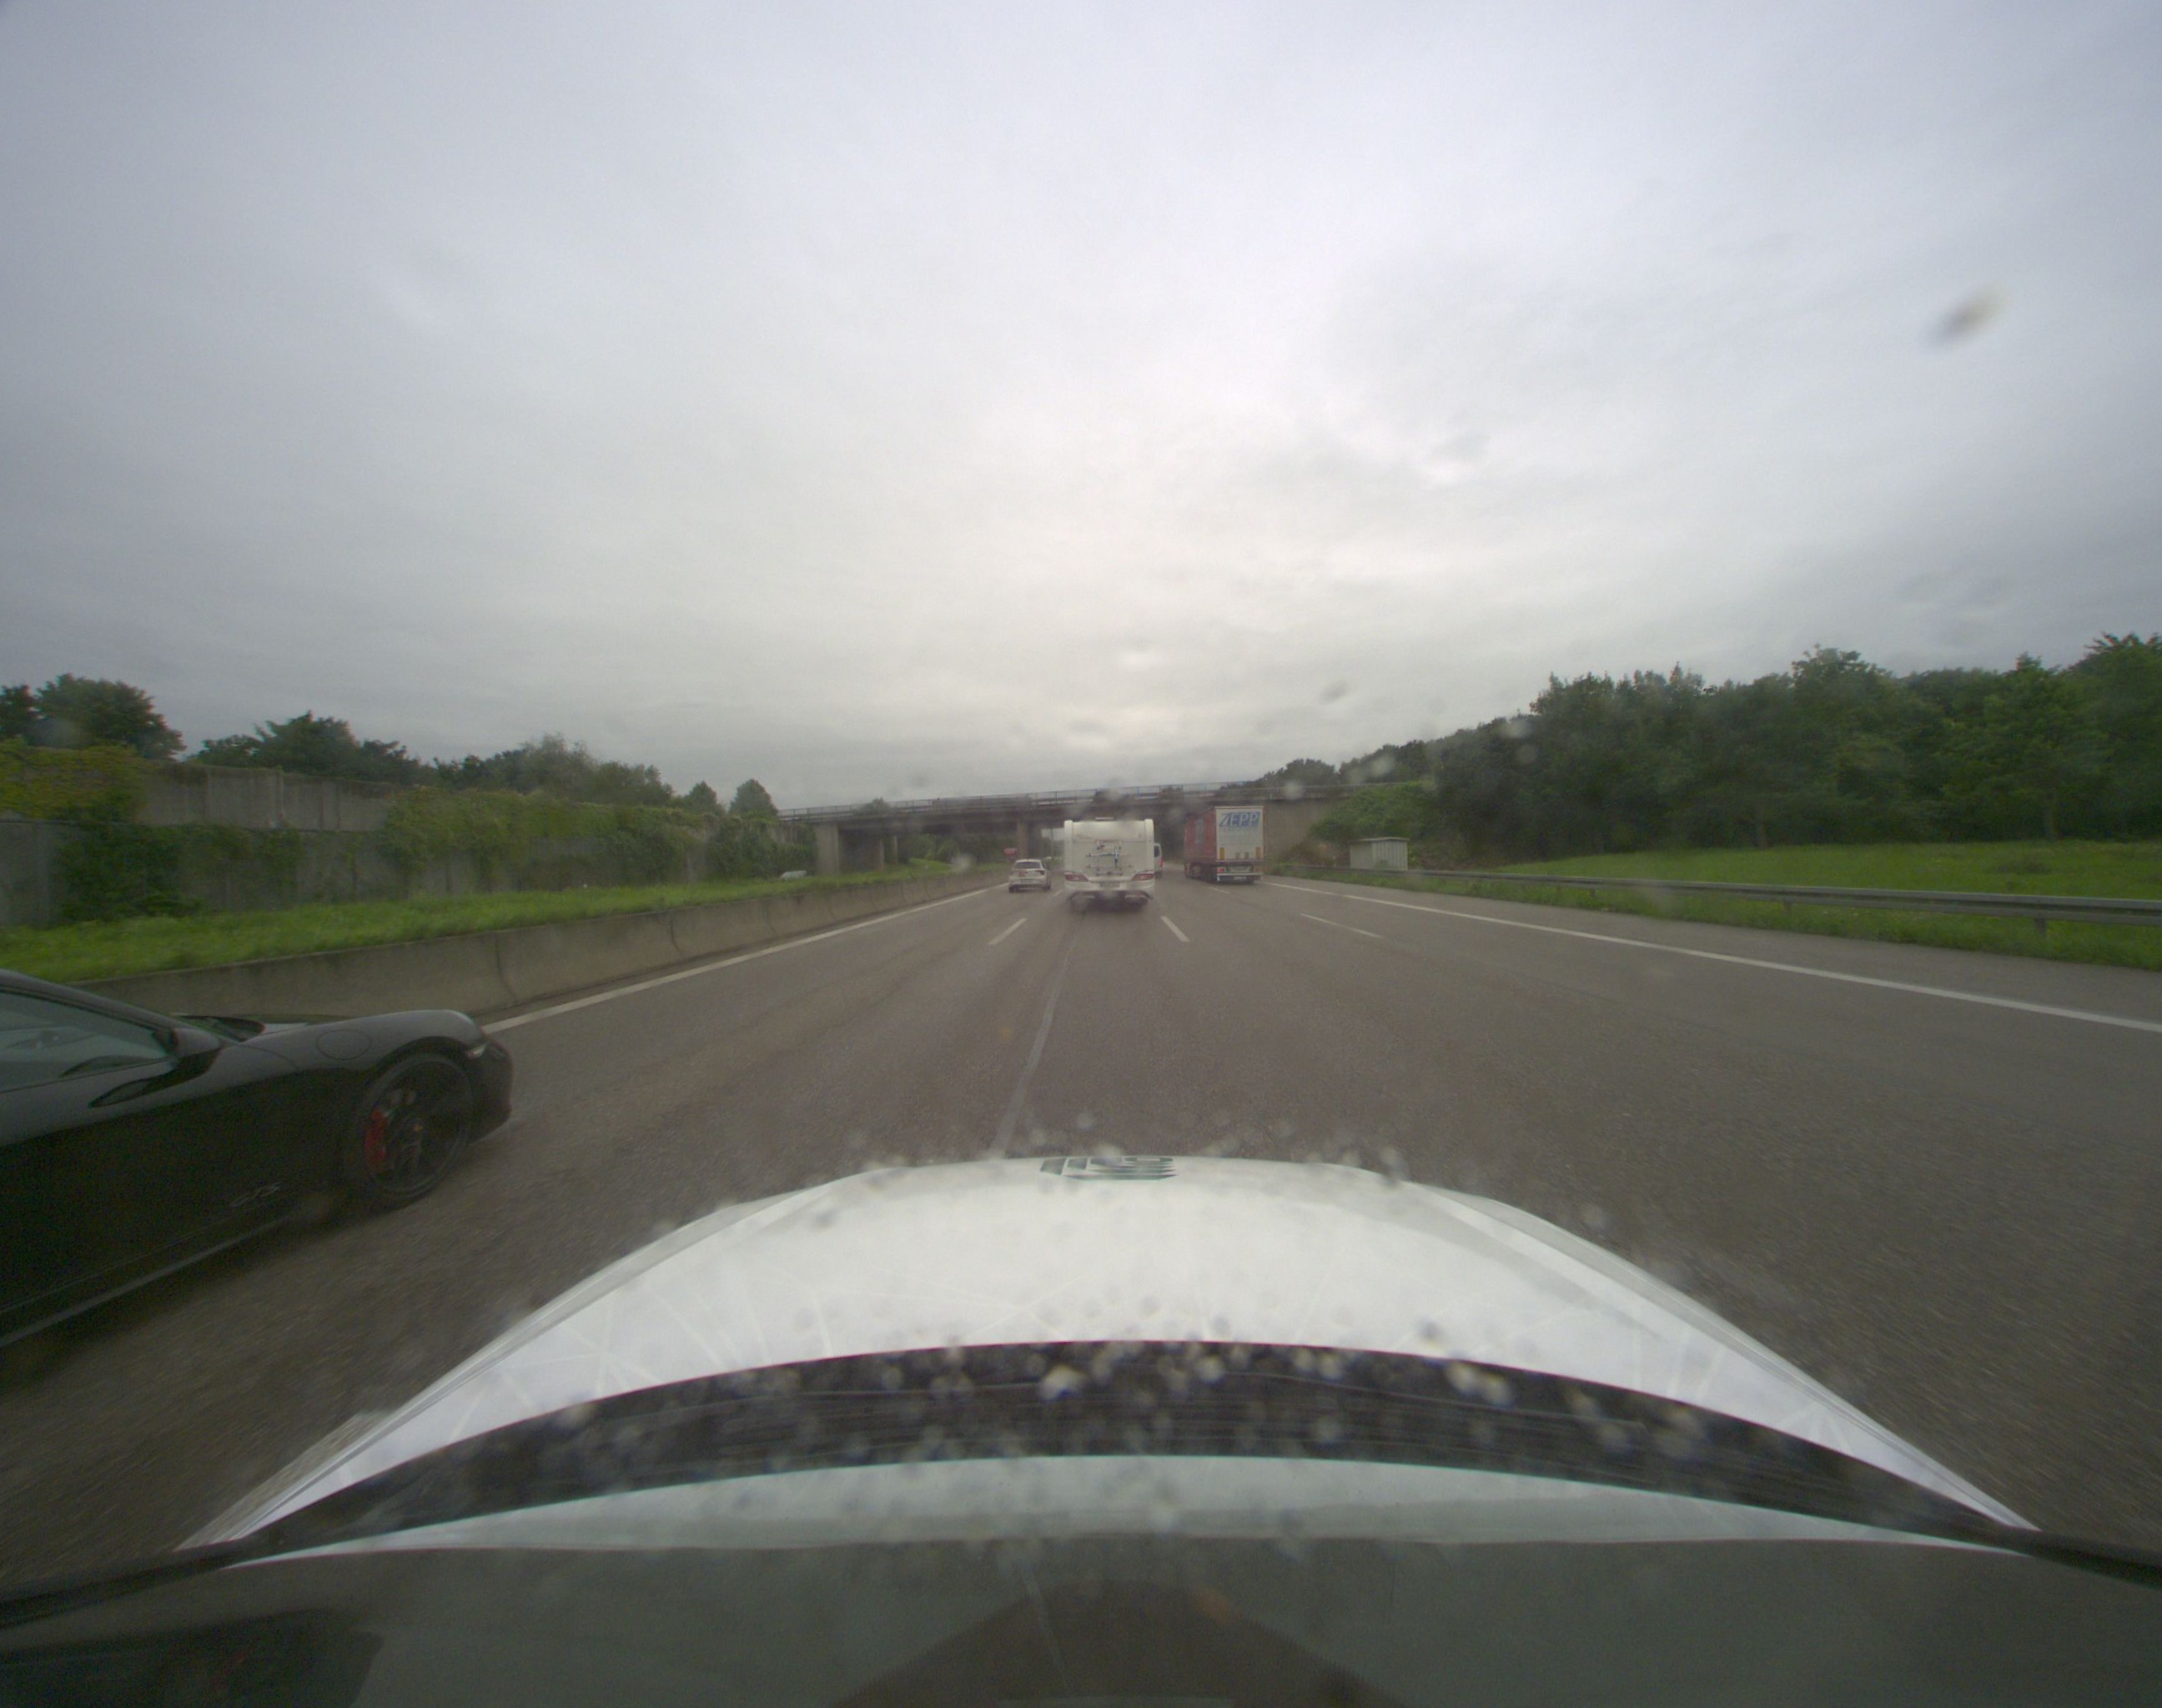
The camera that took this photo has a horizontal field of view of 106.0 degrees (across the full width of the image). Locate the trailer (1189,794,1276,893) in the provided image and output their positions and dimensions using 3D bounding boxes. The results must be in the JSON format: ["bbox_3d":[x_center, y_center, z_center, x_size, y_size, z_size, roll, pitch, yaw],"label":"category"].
[{"bbox_3d":[8.295,-0.474,46.283,3.088,4.922,11.794,0,-1,2],"label":"trailer"}]

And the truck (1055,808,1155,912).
[{"bbox_3d":[0.704,0.178,24.277,2.651,2.742,5.079,0,-1,1],"label":"truck"}]

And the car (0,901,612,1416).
[{"bbox_3d":[-3.786,0.914,2.598,1.645,1.272,4.925,0,-1,1],"label":"car"}]

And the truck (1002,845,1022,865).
[{"bbox_3d":[-14.087,0.171,166.717,2.682,3.851,10.116,-3,0,2],"label":"truck"}]

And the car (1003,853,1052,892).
[{"bbox_3d":[-2.400,0.799,37.539,1.746,1.618,4.665,-3,0,2],"label":"car"}]

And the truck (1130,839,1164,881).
[{"bbox_3d":[4.599,0.426,57.149,2.046,2.770,5.550,0,-1,1],"label":"truck"}]

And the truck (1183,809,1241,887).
[{"bbox_3d":[8.544,-0.369,53.754,3.037,4.839,5.853,0,-1,2],"label":"truck"}]
